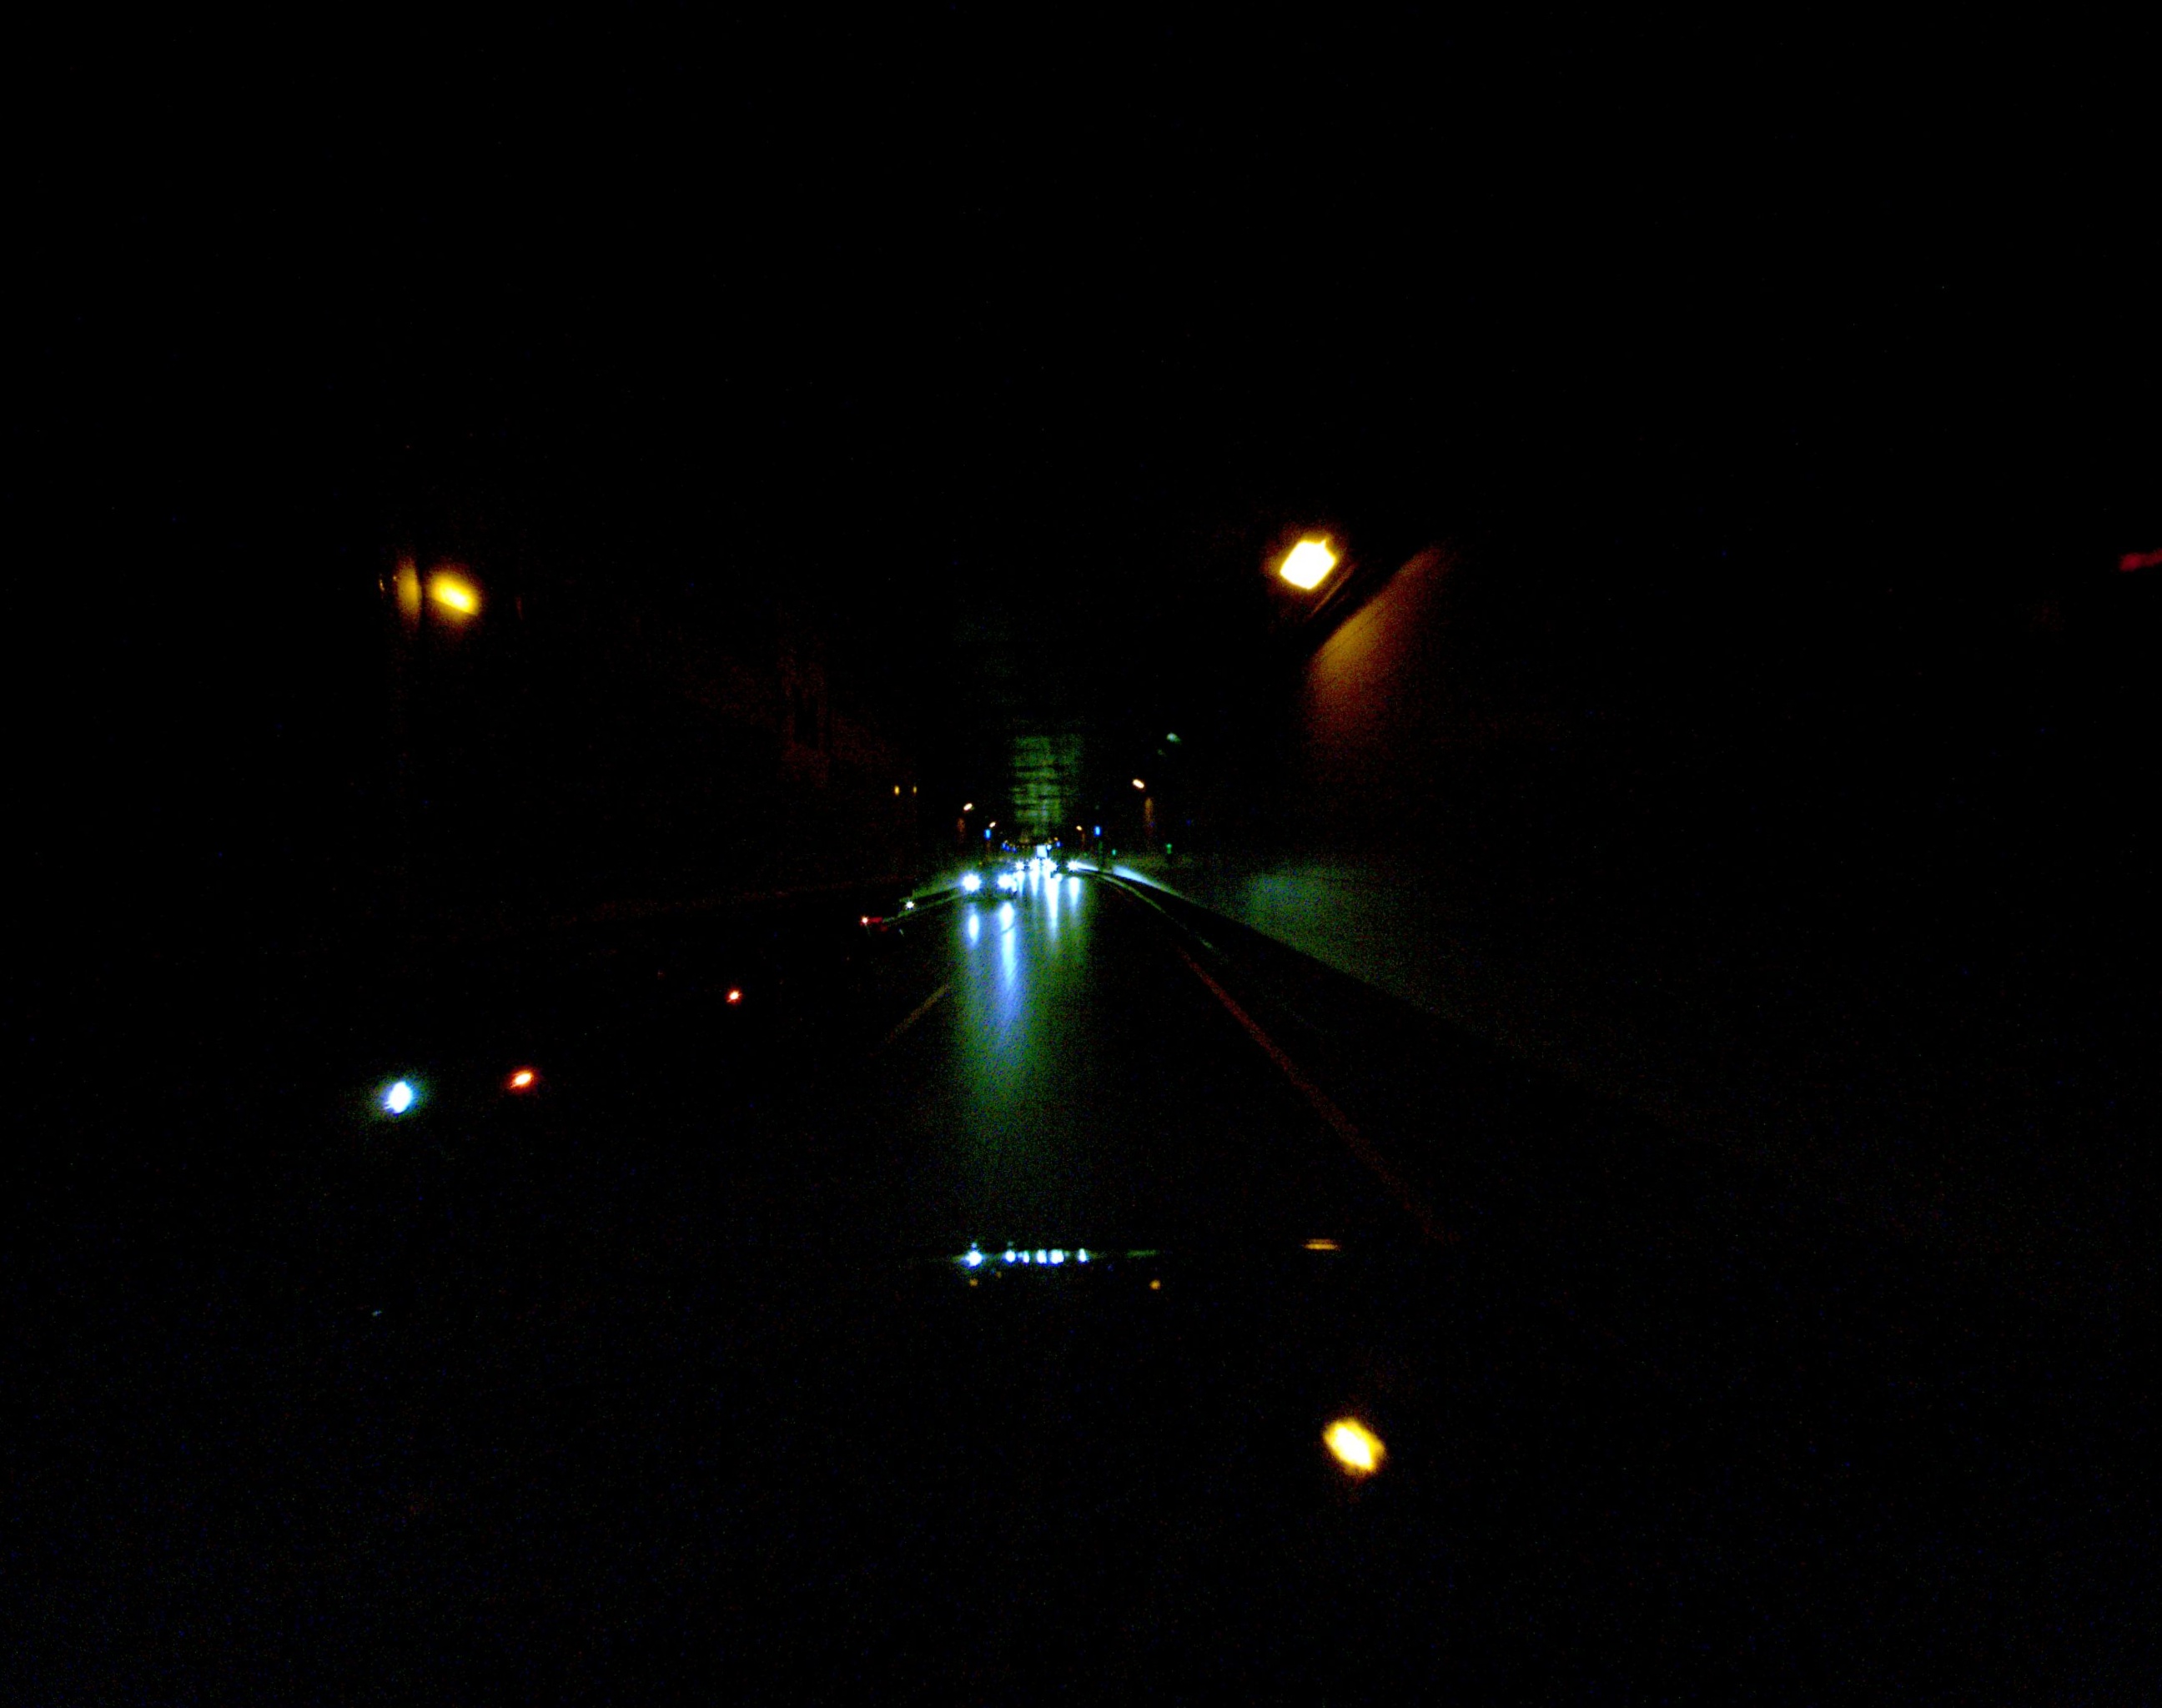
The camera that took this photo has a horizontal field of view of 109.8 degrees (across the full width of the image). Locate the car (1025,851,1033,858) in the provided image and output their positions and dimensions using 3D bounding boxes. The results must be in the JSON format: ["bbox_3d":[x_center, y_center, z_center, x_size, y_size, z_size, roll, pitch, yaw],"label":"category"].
[{"bbox_3d":[-13.022,0.151,190.039,1.999,1.674,3.999,-1,1,-2],"label":"car"}]

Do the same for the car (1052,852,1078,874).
[{"bbox_3d":[-1.208,0.625,56.046,1.820,1.589,3.999,1,0,-2],"label":"car"}]

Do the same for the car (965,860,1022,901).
[{"bbox_3d":[-3.374,0.988,29.885,1.735,1.395,3.798,-2,1,0],"label":"car"}]

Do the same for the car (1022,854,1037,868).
[{"bbox_3d":[-5.912,0.758,87.458,1.736,1.565,3.998,-2,0,-3],"label":"car"}]

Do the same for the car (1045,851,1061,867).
[{"bbox_3d":[-3.480,0.601,93.572,1.715,1.729,3.997,-1,2,-4],"label":"car"}]

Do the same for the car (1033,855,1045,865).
[{"bbox_3d":[-7.151,1.033,130.417,1.999,1.576,4.649,-1,1,-3],"label":"car"}]

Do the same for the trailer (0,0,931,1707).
[{"bbox_3d":[-3.495,-0.213,5.455,2.882,3.836,8.947,-1,0,1],"label":"trailer"}]
